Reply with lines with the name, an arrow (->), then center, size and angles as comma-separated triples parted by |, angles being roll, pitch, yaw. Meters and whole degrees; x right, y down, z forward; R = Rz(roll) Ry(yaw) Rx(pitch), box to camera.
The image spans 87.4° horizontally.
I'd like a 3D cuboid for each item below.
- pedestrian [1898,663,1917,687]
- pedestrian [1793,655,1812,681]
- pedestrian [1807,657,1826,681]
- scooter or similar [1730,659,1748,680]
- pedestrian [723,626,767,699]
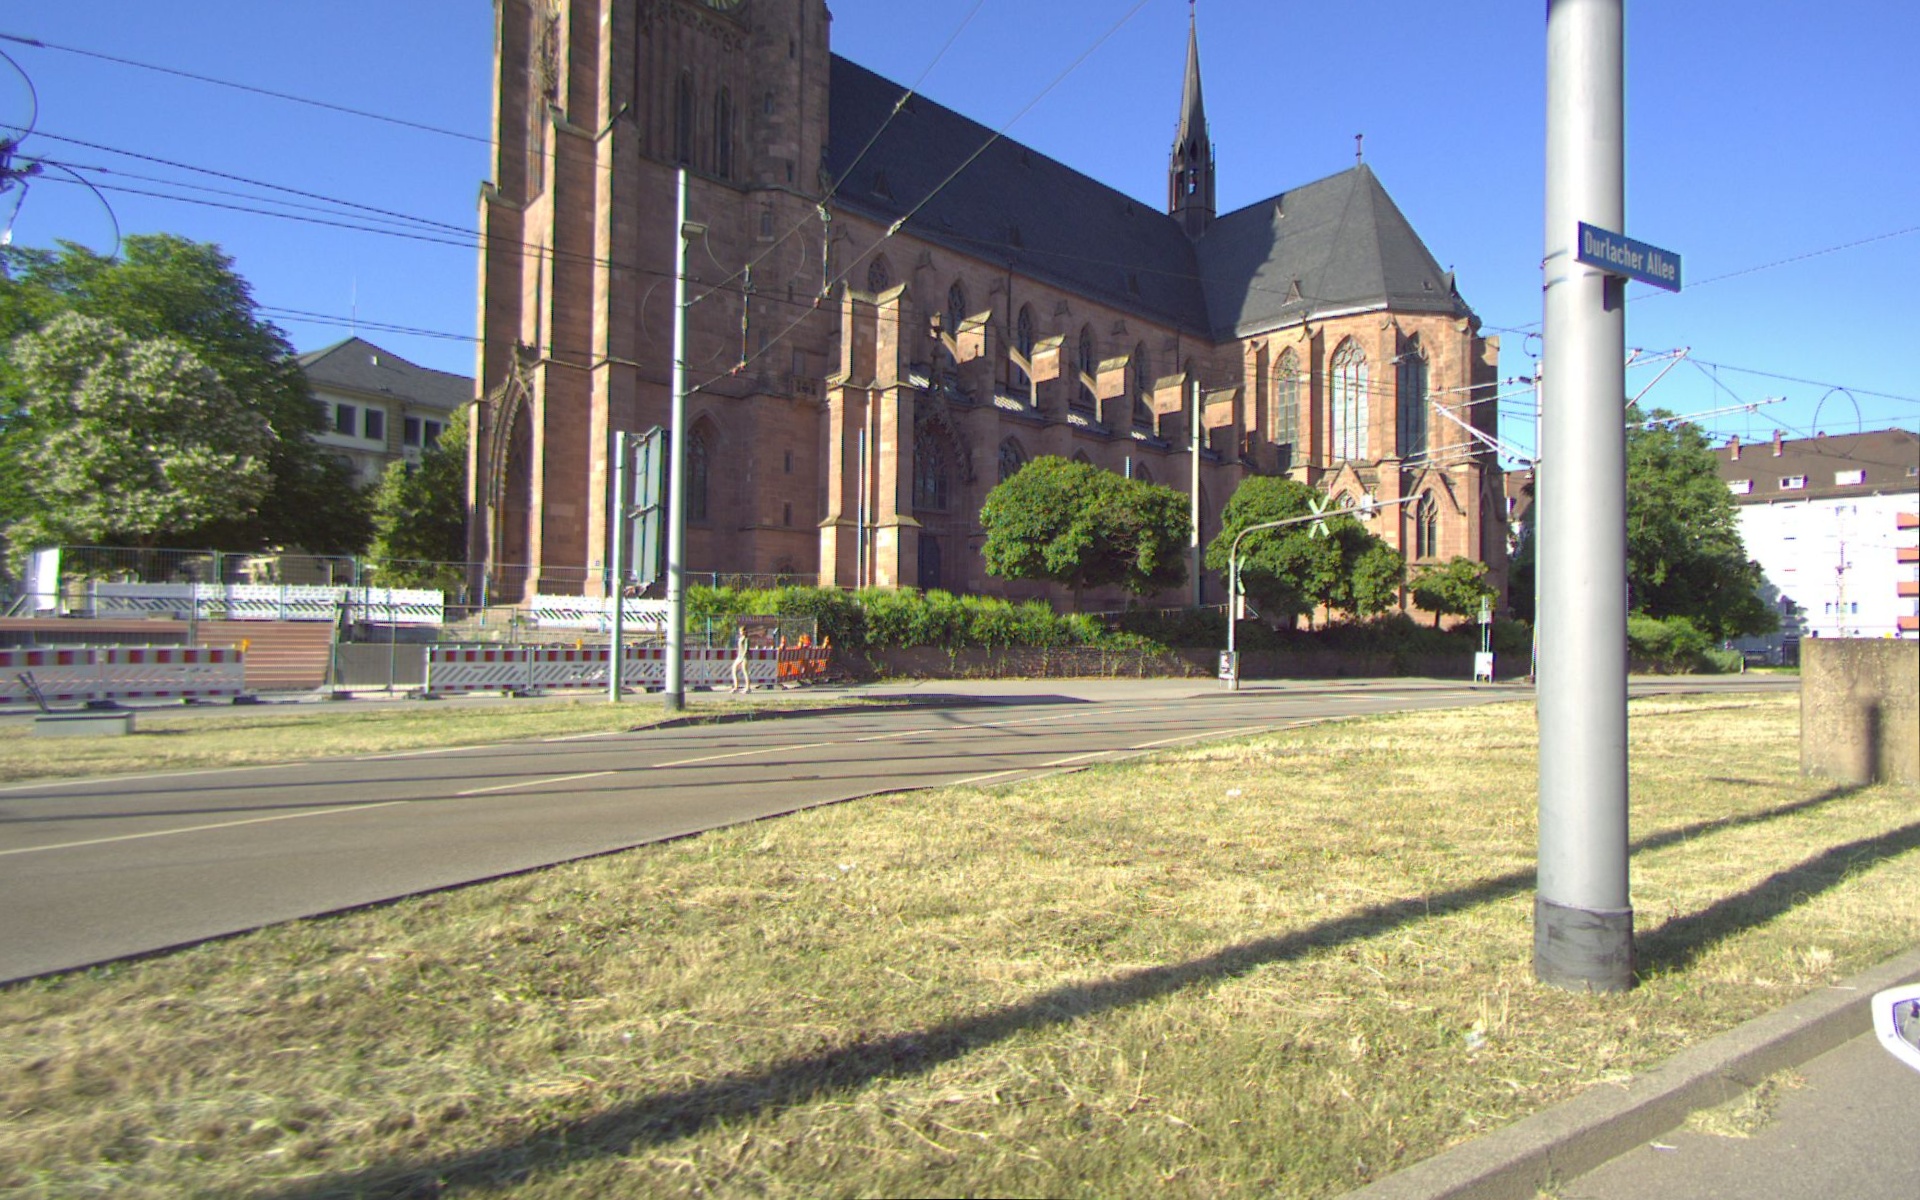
pedestrian -> 60.938, 4.820, 64.599 | 0.583, 1.487, 0.686 | -1, -2, -26
pedestrian -> 53.796, 4.319, 64.139 | 0.887, 1.619, 0.641 | -1, -2, -29
pedestrian -> 54.122, 4.344, 63.493 | 0.905, 1.487, 0.586 | -1, -2, -29
scooter or similar -> 49.256, 4.386, 63.523 | 1.215, 1.278, 0.400 | -1, -2, -29
pedestrian -> -5.460, 1.580, 25.453 | 0.854, 1.797, 0.724 | -1, -2, -32
